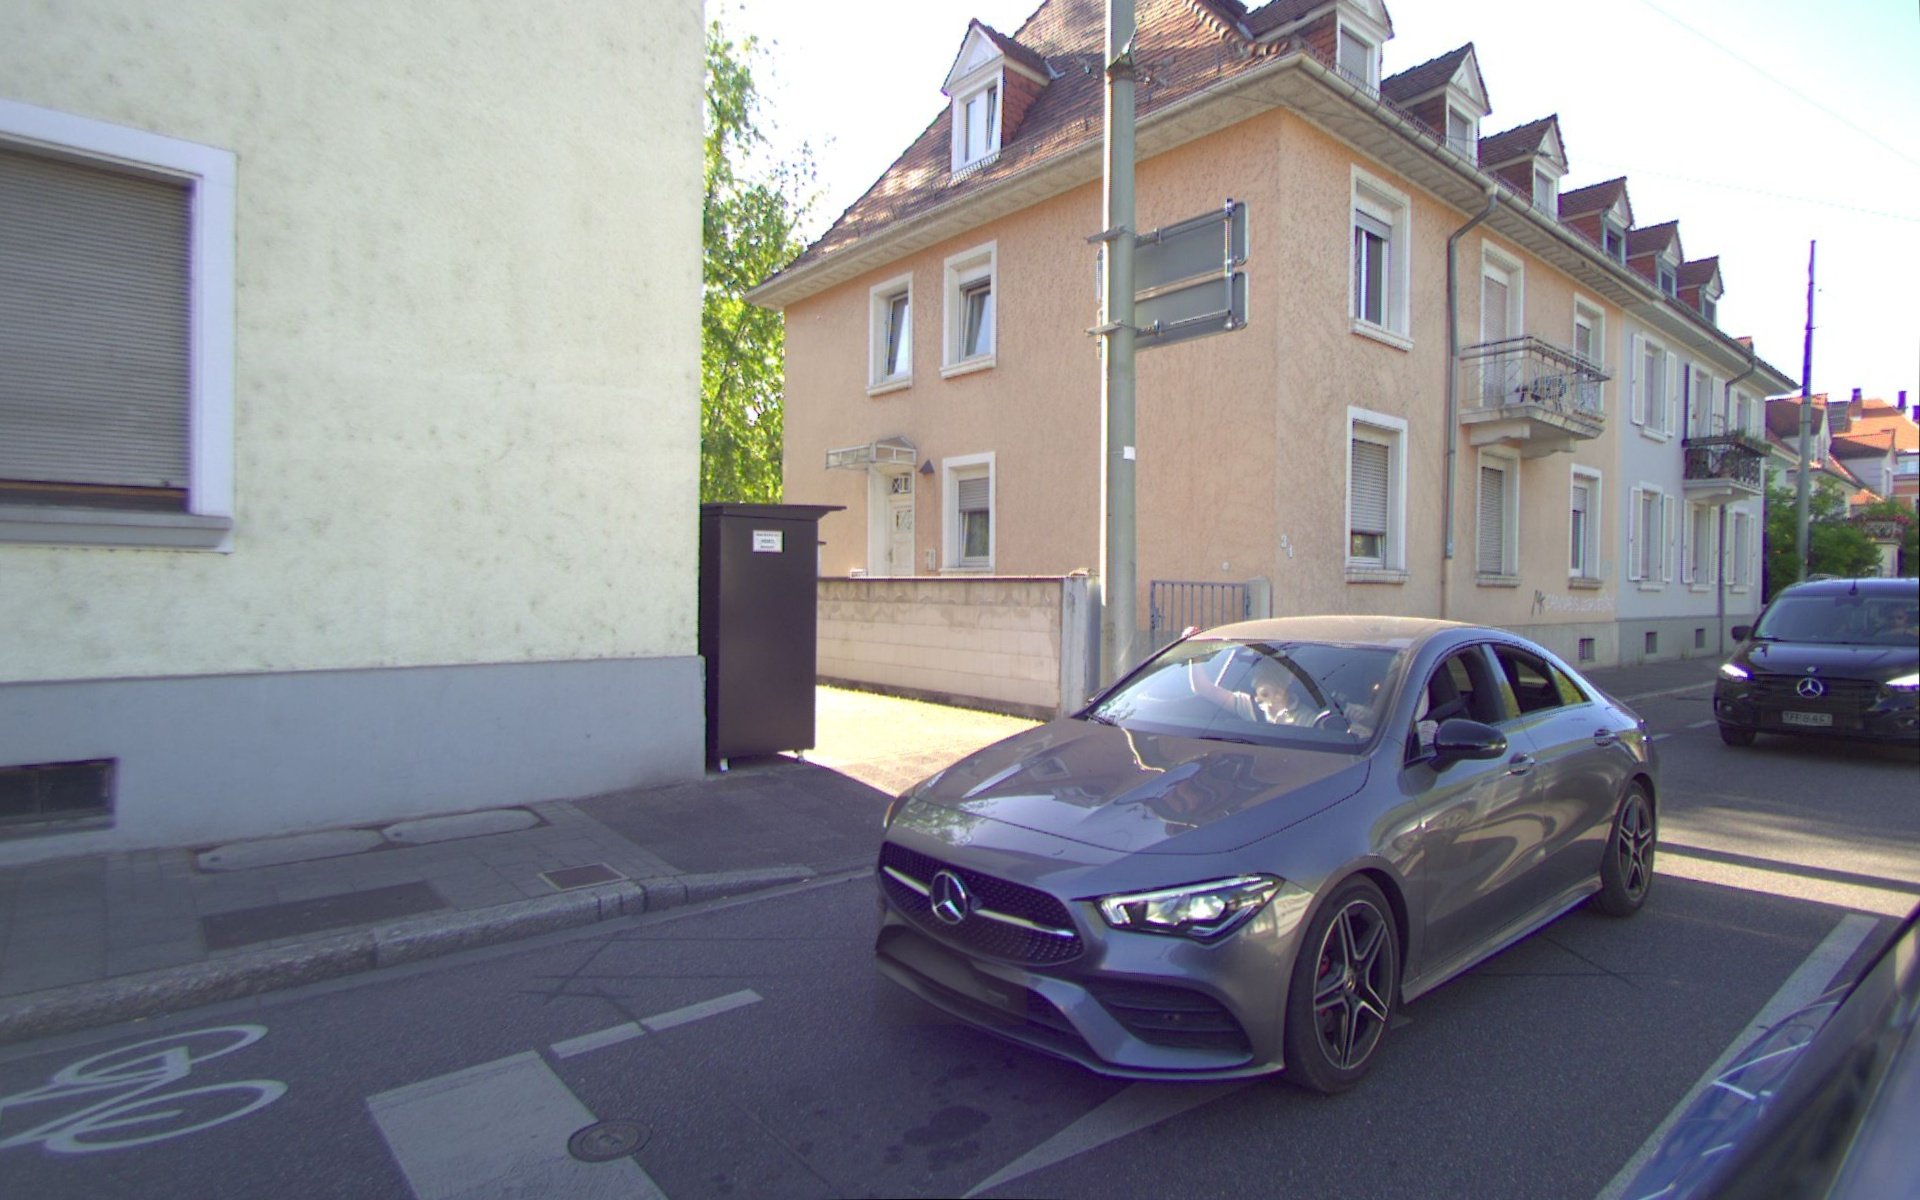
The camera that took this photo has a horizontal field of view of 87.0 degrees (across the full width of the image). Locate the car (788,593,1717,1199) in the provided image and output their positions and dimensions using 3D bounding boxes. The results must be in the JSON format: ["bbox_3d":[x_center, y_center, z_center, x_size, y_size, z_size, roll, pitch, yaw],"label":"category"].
[{"bbox_3d":[1.633,0.703,4.585,4.413,1.437,1.911,-1,0,-40],"label":"car"}]

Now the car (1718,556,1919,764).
[{"bbox_3d":[9.870,0.503,10.831,4.695,1.827,1.864,-1,0,-41],"label":"car"}]

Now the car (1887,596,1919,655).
[{"bbox_3d":[26.374,0.652,27.103,3.930,1.476,1.839,-1,0,-41],"label":"car"}]
